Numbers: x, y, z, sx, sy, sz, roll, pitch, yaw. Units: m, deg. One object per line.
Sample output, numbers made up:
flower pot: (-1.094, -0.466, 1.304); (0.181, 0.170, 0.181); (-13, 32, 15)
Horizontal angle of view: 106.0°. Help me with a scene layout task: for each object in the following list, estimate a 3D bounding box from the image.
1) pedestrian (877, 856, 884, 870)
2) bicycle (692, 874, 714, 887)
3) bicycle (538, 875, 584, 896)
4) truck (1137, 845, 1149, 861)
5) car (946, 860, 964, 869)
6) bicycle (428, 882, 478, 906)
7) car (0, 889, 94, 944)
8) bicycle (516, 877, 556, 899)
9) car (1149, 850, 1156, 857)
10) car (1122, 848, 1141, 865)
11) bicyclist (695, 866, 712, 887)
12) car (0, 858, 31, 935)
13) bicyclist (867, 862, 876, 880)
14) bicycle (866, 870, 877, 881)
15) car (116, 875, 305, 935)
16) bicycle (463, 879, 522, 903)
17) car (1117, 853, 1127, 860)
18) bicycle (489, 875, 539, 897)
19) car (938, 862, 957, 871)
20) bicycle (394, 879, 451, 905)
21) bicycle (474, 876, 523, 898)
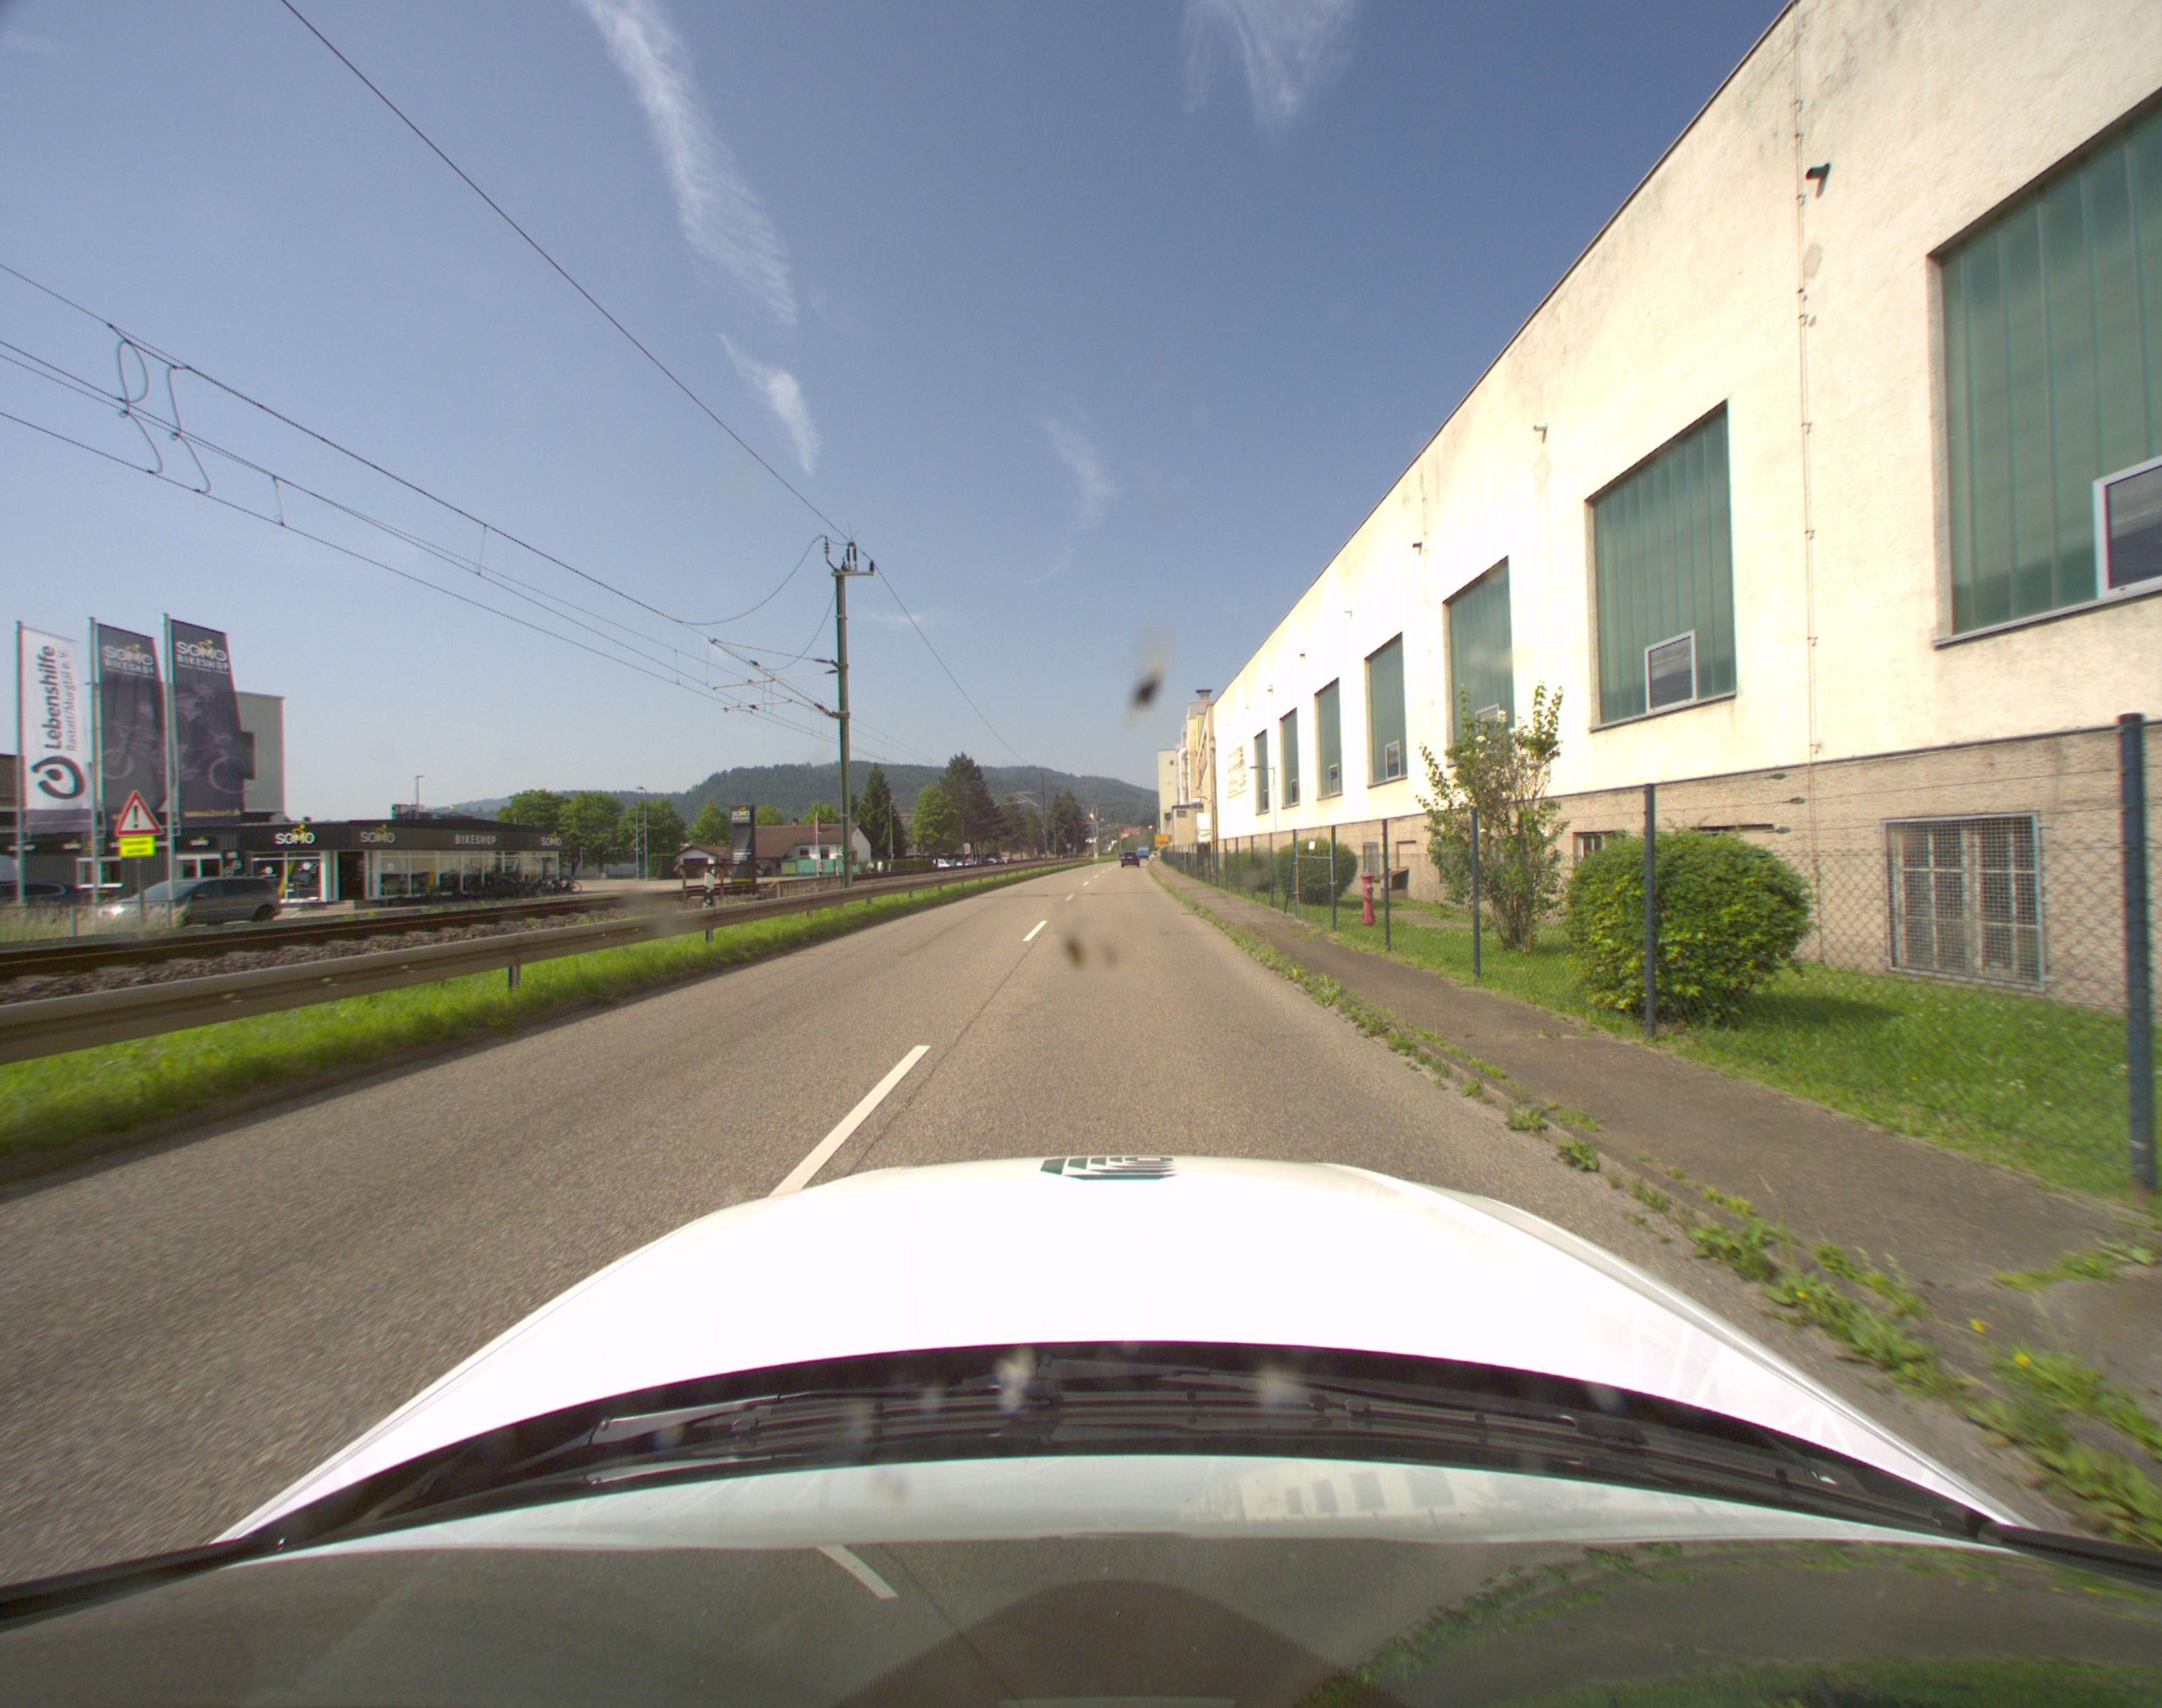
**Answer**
pedestrian: (-20.338, 0.906, 82.684); (0.572, 1.332, 0.673); (-2, 0, -3)
bicycle: (-31.042, 2.154, 66.939); (0.751, 1.017, 1.965); (-2, 0, 5)
bicycle: (-30.843, 1.852, 48.323); (2.166, 1.130, 0.728); (-2, -1, -9)
truck: (12.080, -0.219, 159.012); (2.302, 2.970, 5.972); (-2, 0, 4)
car: (-24.376, 2.056, 157.530); (1.696, 1.506, 3.808); (-2, 0, -38)
bicycle: (-32.176, 2.039, 41.766); (0.724, 1.130, 2.176); (-2, 0, 4)
car: (-34.759, 2.010, 25.914); (1.862, 1.664, 3.998); (-2, -1, -1)
bicycle: (-30.189, 1.860, 45.172); (0.725, 1.130, 2.174); (-2, 0, 0)
car: (19.621, -0.256, 224.059); (1.658, 1.823, 3.759); (-2, 0, 7)
car: (5.202, 0.269, 83.650); (1.910, 1.640, 4.005); (-1, 0, 5)
bicyclist: (-31.042, 1.826, 66.954); (0.742, 1.620, 1.148); (-2, 0, 5)
car: (-38.195, 1.429, 25.595); (2.366, 2.633, 6.157); (-2, -2, -1)
bicyclist: (-19.209, 1.588, 74.803); (0.530, 1.646, 0.832); (-2, 0, 0)
bicycle: (-19.199, 1.978, 74.674); (0.543, 0.923, 1.710); (-2, 0, 0)
car: (-28.105, 1.581, 26.546); (1.514, 1.689, 4.368); (0, 0, -1)
bicycle: (-30.338, 1.895, 42.049); (0.721, 1.130, 2.337); (-2, -1, 36)
car: (7.943, 0.471, 157.765); (1.755, 1.403, 4.127); (-1, 0, 6)
bicycle: (-31.730, 1.807, 45.606); (2.166, 1.130, 0.728); (-2, -1, -9)
car: (-23.939, 2.205, 145.964); (1.696, 1.443, 3.808); (-2, 0, -38)
bicycle: (-31.769, 1.835, 39.291); (2.159, 1.130, 0.730); (-2, -1, 1)
bicycle: (-31.777, 1.802, 44.451); (2.159, 1.130, 0.730); (-2, -1, 1)
